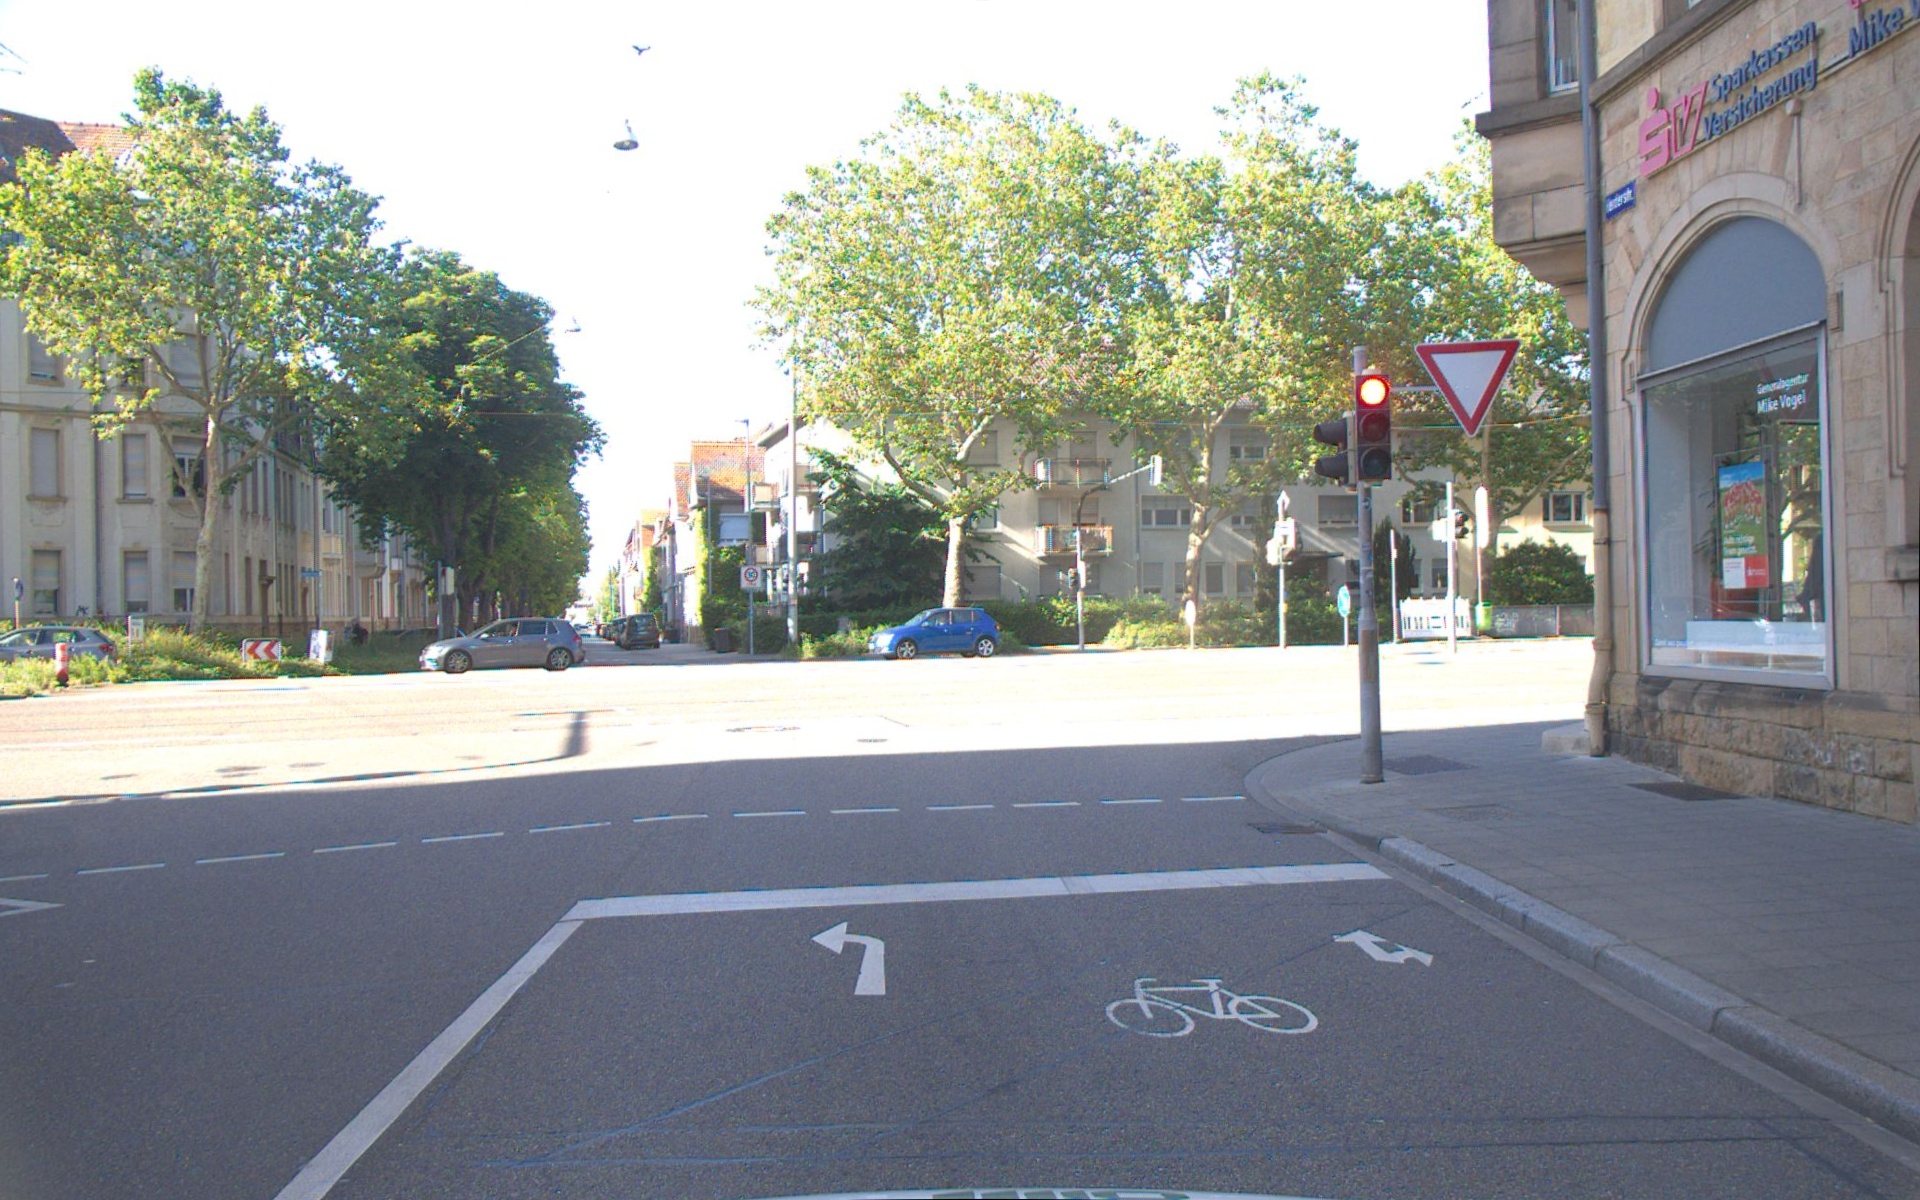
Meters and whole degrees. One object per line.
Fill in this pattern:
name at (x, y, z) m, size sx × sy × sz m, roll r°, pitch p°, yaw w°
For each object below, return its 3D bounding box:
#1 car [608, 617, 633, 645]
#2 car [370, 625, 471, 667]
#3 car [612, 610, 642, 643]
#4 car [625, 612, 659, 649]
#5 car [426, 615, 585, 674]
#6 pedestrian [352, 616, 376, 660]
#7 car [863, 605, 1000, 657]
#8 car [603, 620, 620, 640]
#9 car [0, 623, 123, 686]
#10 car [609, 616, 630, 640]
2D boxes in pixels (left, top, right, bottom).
car at (-26.238, 2.389, 127.707) m, size 1.742 × 1.952 × 3.523 m, roll -3°, pitch 0°, yaw -12°
car at (-20.451, 1.739, 62.804) m, size 3.572 × 1.483 × 1.650 m, roll -1°, pitch 0°, yaw -16°
car at (-21.017, 1.659, 104.287) m, size 1.742 × 1.952 × 3.523 m, roll -3°, pitch 0°, yaw -12°
car at (-18.140, 1.727, 94.172) m, size 1.742 × 1.952 × 3.523 m, roll -3°, pitch 0°, yaw -12°
car at (-11.974, 1.137, 43.586) m, size 3.884 × 1.425 × 1.635 m, roll -1°, pitch 0°, yaw -22°
pedestrian at (-20.252, 1.296, 56.214) m, size 0.693 × 1.467 × 0.486 m, roll 1°, pitch -1°, yaw -24°
car at (-0.846, 0.900, 48.570) m, size 3.721 × 1.425 × 1.638 m, roll -1°, pitch 0°, yaw -17°
car at (-37.942, 3.263, 180.181) m, size 1.742 × 1.952 × 3.523 m, roll -3°, pitch 0°, yaw -12°
car at (-22.264, 1.302, 39.698) m, size 3.728 × 1.425 × 1.635 m, roll -1°, pitch 0°, yaw -22°
car at (-30.051, 2.457, 145.933) m, size 1.742 × 1.952 × 3.523 m, roll -3°, pitch 0°, yaw -12°
